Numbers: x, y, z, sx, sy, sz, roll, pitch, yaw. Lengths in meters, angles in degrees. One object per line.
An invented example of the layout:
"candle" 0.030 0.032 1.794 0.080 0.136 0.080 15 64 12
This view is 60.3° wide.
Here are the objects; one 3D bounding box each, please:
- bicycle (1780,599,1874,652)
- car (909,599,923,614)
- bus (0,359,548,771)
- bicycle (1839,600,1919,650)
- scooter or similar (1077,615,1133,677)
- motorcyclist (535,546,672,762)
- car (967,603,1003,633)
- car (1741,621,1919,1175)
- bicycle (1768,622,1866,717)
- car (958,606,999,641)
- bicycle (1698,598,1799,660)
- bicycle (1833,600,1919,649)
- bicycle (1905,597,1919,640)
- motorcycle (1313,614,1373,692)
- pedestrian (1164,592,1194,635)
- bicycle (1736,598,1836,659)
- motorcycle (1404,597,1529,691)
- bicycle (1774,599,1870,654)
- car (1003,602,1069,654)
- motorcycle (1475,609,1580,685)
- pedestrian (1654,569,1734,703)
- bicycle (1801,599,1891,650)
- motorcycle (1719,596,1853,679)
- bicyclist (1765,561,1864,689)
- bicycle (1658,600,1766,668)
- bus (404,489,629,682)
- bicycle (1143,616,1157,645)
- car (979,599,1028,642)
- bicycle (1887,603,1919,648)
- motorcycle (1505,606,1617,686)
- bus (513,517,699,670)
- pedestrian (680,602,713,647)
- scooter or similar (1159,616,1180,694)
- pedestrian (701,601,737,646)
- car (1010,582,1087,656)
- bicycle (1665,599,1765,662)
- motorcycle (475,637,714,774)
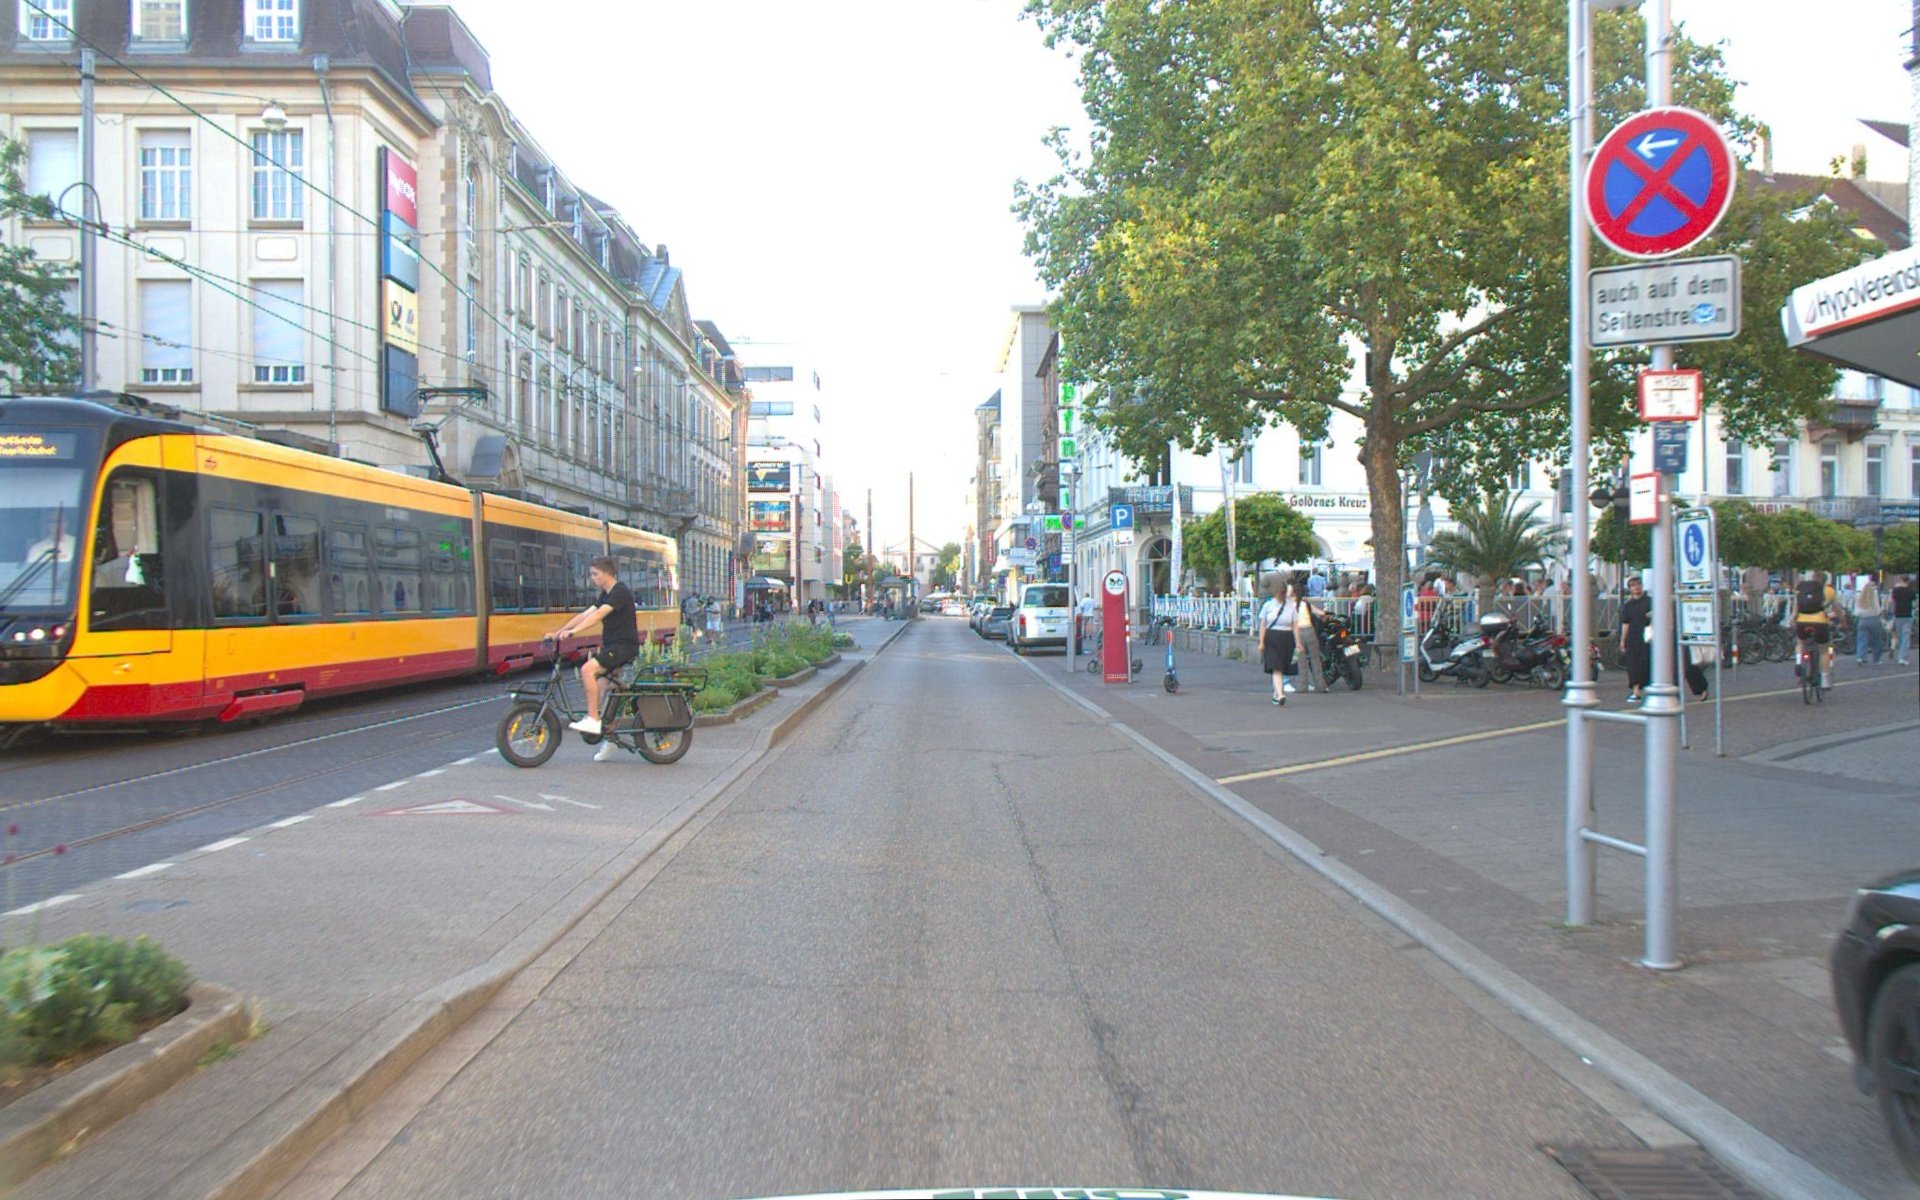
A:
"bicycle" 21.875 0.629 41.768 2.073 1.314 0.441 0 0 34
"car" -5.888 0.927 221.547 1.725 1.859 3.569 -1 -2 -1
"bus" -9.280 -0.295 23.483 2.765 3.715 17.069 -1 0 -1
"bicycle" 24.815 0.660 44.459 2.073 1.314 0.441 0 0 34
"scooter or similar" 3.018 0.952 34.391 1.102 1.237 0.300 -2 1 0
"motorcyclist" -3.204 0.479 14.817 0.990 1.845 0.951 0 -2 -28
"car" 1.465 1.103 98.551 1.953 1.696 4.419 -1 -2 -1
"car" 3.298 0.742 2.951 1.622 1.404 4.340 -4 0 -1
"bicycle" 11.685 0.930 22.525 0.640 1.233 2.182 0 -1 43
"car" 0.920 1.243 85.374 1.953 1.696 4.419 -1 -2 -1
"bicycle" 17.696 0.635 37.165 0.437 1.314 2.090 -2 2 -36
"bicycle" 25.304 0.663 45.662 2.073 1.314 0.441 0 2 34
"bicycle" 29.982 0.573 50.361 2.073 1.314 0.441 0 0 34
"motorcycle" 6.101 0.820 26.413 0.446 1.178 2.031 0 0 -1
"pedestrian" 6.884 0.430 52.014 0.806 1.329 0.869 -1 -2 -2
"bicycle" 18.894 0.636 37.858 0.437 1.314 2.090 -1 2 -36
"motorcycle" 8.347 0.701 27.369 0.557 1.448 2.277 0 1 -27
"bicycle" 21.244 0.647 40.788 2.073 1.314 0.441 0 0 34
"car" 2.583 0.979 57.195 1.953 1.696 4.419 -1 -1 -1
"motorcycle" 9.426 0.756 27.532 0.544 1.171 1.782 0 1 -27
"pedestrian" 9.847 0.487 22.183 0.816 1.754 0.649 1 -3 -39
"bicycle" 23.213 0.629 43.357 2.073 1.314 0.441 0 1 34
"motorcycle" 13.562 0.598 27.204 0.557 1.304 1.931 0 0 -38
"bicyclist" 11.597 0.350 22.445 0.975 1.681 0.993 -1 -3 43
"bicycle" 15.496 0.678 34.147 0.437 1.314 2.090 -1 2 -36
"bus" -9.421 -0.201 36.178 2.765 3.688 8.287 -1 -1 -1
"bicycle" 6.154 1.002 53.567 0.245 0.918 1.373 -1 -2 -1
"car" 1.878 0.894 72.445 1.953 1.792 4.420 -1 -1 -1
"bicycle" 28.064 0.738 47.930 2.073 1.314 0.441 0 0 34
"motorcycle" 10.109 0.757 27.901 0.554 1.304 1.940 0 0 -27
"bus" -9.561 -0.049 46.218 2.765 3.676 11.819 -1 -1 -1
"pedestrian" -9.290 0.875 58.259 0.746 1.540 0.858 -3 -3 42
"scooter or similar" 3.407 0.882 26.935 0.308 1.243 1.273 0 0 6
"pedestrian" -8.435 0.840 57.827 0.706 1.540 1.031 -3 -3 42
"car" 2.492 0.549 47.686 1.876 2.016 4.420 -1 -1 -1
"bicycle" 16.720 0.658 36.677 0.437 1.314 2.090 -2 2 -36
"motorcycle" -3.249 0.918 14.765 2.020 1.143 0.563 0 -2 -28
